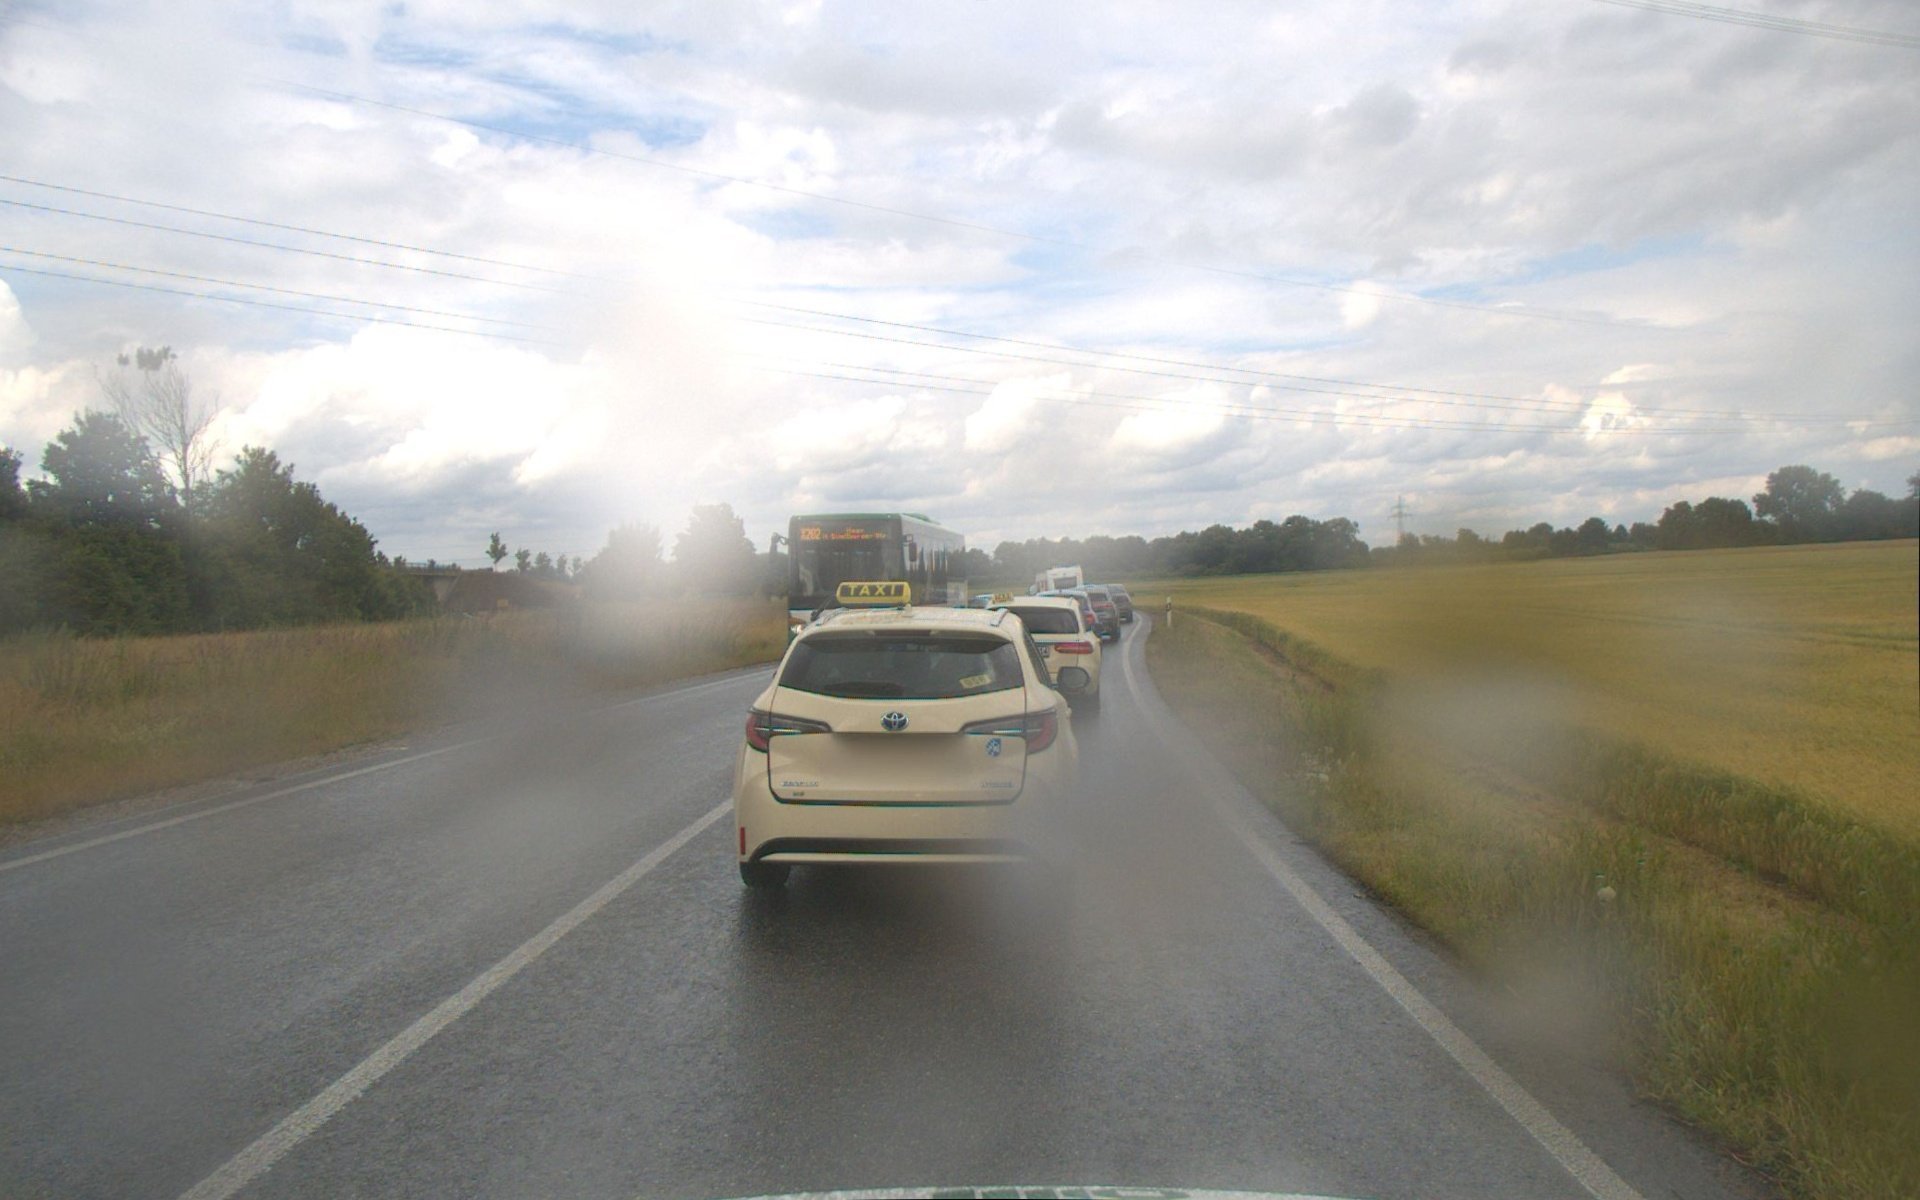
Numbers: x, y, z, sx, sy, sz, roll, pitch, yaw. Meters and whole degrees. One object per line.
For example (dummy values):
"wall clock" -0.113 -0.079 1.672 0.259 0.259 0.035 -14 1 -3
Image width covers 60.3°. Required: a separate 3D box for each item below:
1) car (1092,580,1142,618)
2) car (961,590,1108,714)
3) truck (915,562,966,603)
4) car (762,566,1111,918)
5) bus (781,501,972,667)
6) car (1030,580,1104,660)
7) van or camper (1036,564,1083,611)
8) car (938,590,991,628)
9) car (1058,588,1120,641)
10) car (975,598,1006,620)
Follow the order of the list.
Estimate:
"car" 6.239 0.000 66.113 1.918 1.438 4.394 0 -1 4
"car" 1.110 0.625 22.582 1.802 1.518 4.611 0 0 5
"truck" -1.715 -1.415 139.846 2.959 3.266 8.210 0 -1 -11
"car" -0.059 0.673 9.397 1.579 1.590 3.739 0 -1 1
"bus" -1.650 -0.347 39.758 2.699 3.355 12.511 0 0 6
"car" 2.403 0.456 36.954 1.579 1.688 3.740 0 -1 4
"van or camper" 6.396 -0.824 107.067 2.485 2.946 6.740 0 0 -2
"car" 0.185 0.345 58.237 1.683 1.273 4.001 0 -1 3
"car" 3.687 0.418 46.931 1.578 1.438 3.741 0 -1 7
"car" 1.984 0.602 108.825 1.807 1.412 4.285 0 0 -2
